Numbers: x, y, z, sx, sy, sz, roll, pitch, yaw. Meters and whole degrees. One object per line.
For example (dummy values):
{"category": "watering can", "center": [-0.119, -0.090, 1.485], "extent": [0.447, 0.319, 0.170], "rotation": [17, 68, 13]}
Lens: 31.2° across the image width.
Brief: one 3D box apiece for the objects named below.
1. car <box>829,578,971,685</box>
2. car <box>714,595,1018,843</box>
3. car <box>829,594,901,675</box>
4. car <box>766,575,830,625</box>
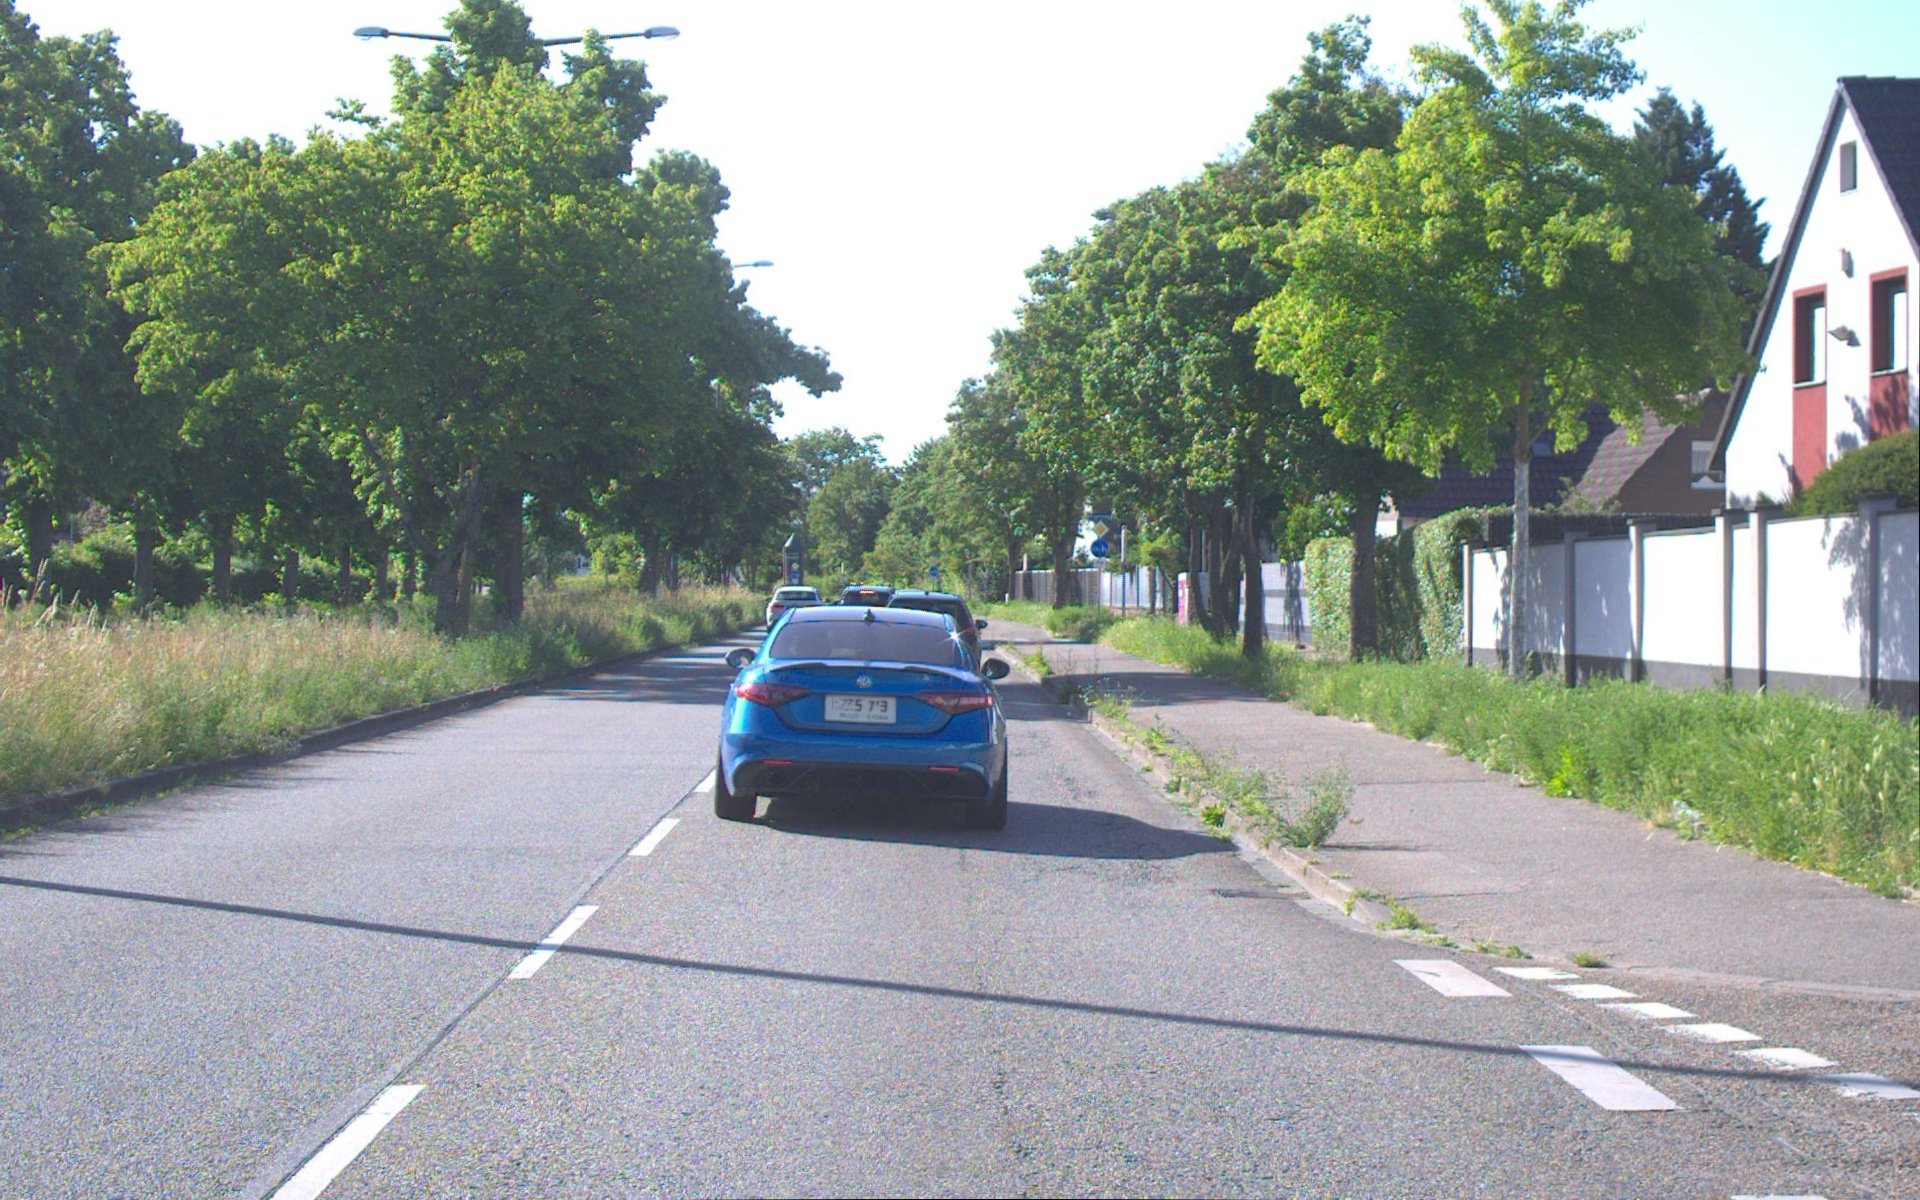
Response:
{"category": "car", "center": [-0.984, 0.463, 54.213], "extent": [1.915, 1.574, 4.183], "rotation": [1, 0, -5]}
{"category": "car", "center": [-0.585, 0.746, 23.581], "extent": [1.838, 1.469, 4.184], "rotation": [2, 0, 0]}
{"category": "car", "center": [-2.462, 0.877, 89.489], "extent": [1.793, 2.007, 4.000], "rotation": [2, 0, -1]}
{"category": "car", "center": [-5.042, -0.016, 106.885], "extent": [1.915, 1.507, 4.068], "rotation": [1, 0, -3]}
